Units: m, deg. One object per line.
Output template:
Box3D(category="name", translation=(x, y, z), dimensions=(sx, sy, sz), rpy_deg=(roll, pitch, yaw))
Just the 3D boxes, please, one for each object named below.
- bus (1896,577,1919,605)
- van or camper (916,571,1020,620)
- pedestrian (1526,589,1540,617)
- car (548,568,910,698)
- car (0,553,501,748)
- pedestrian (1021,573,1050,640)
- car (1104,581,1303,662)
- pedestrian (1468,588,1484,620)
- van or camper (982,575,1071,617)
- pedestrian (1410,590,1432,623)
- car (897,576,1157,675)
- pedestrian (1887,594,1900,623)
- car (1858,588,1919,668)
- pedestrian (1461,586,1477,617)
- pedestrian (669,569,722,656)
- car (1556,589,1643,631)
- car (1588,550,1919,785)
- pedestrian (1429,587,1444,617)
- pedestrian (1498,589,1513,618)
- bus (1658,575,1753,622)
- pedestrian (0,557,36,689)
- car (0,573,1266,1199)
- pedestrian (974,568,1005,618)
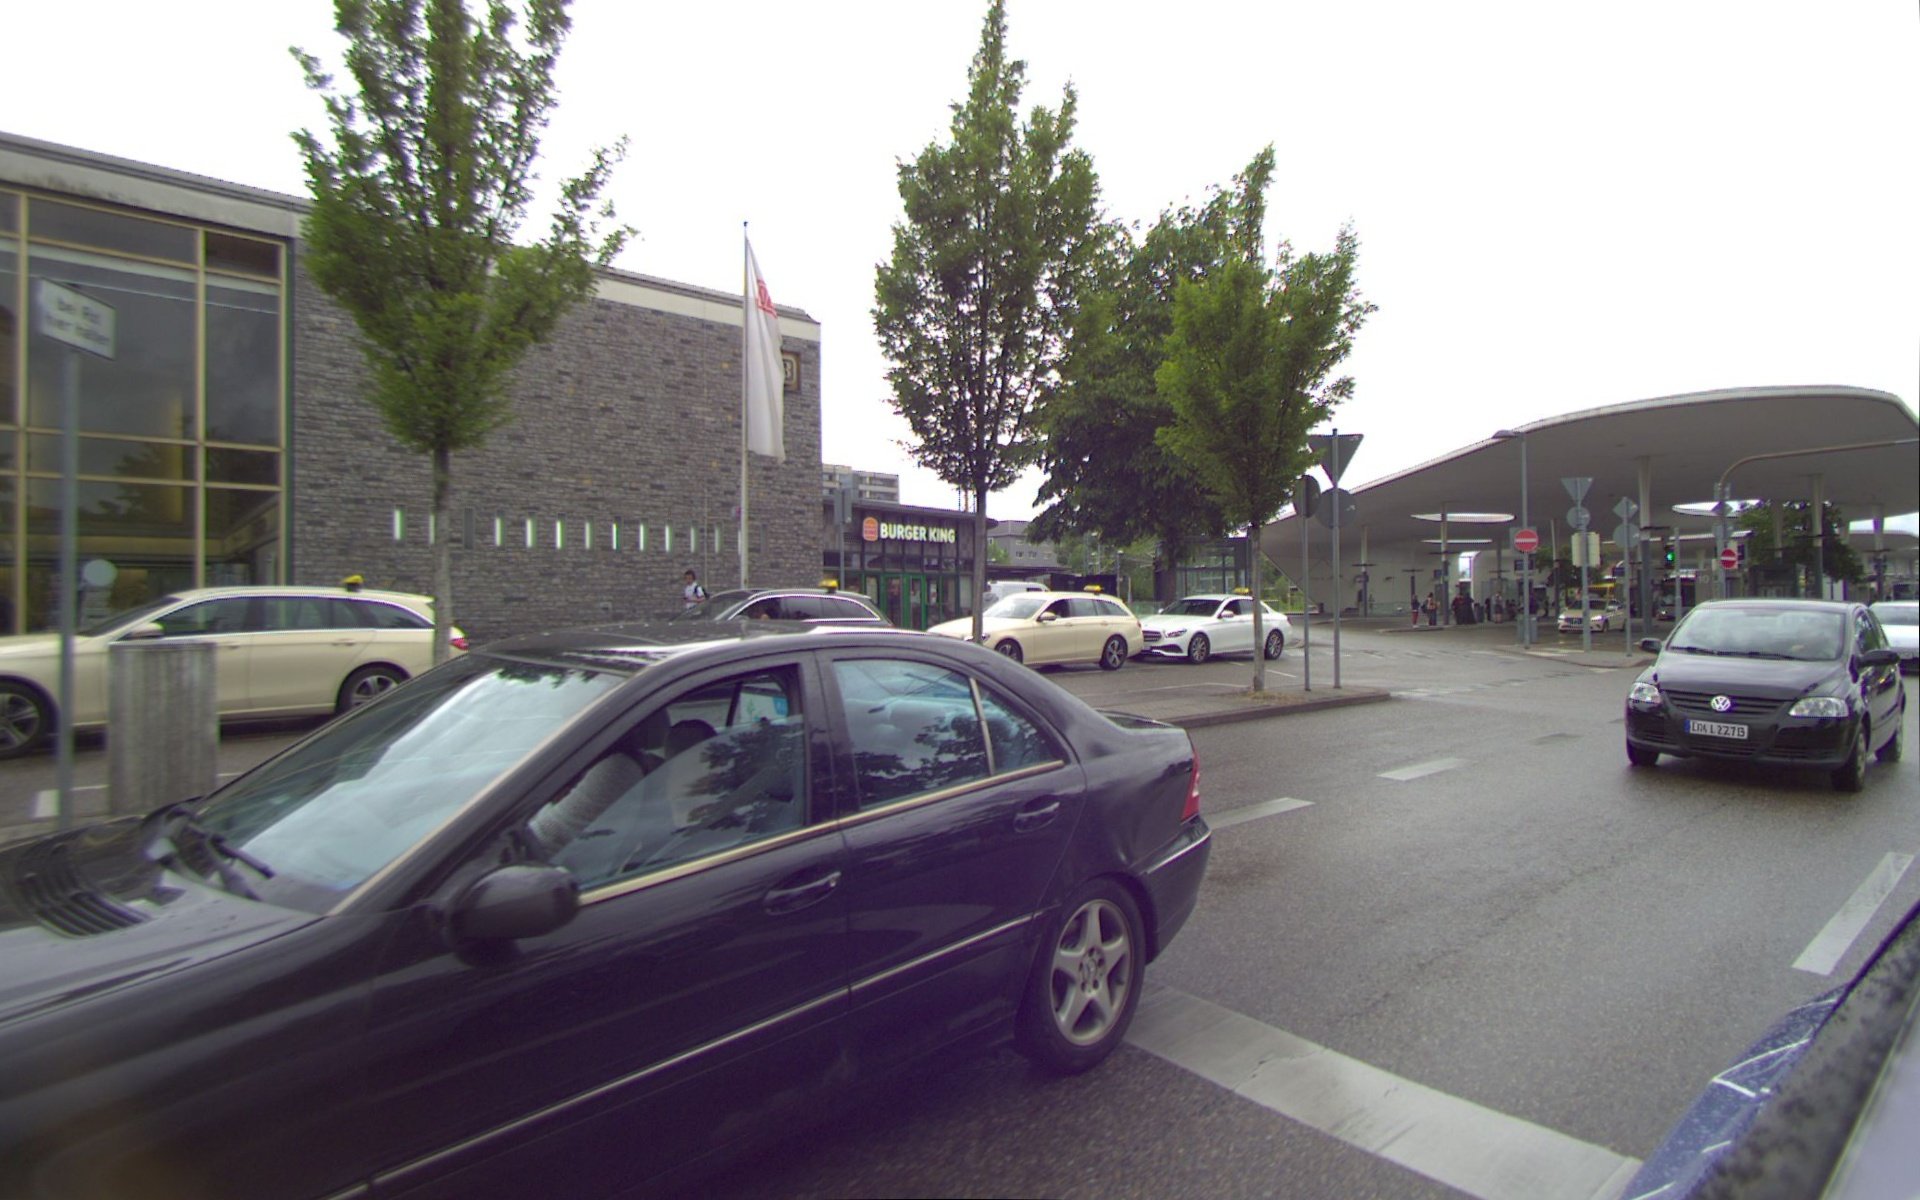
Box3D(category="bus", translation=(109.666, -1.003, 115.607), dimensions=(3.569, 3.137, 10.597), rpy_deg=(1, 1, 40))
Box3D(category="van or camper", translation=(0.387, -0.310, 55.884), dimensions=(5.846, 2.463, 2.132), rpy_deg=(3, 2, 44))
Box3D(category="pedestrian", translation=(31.931, 0.173, 56.429), dimensions=(0.525, 1.533, 0.479), rpy_deg=(0, 0, -37))
Box3D(category="car", translation=(-3.249, 0.409, 14.942), dimensions=(4.872, 1.620, 1.996), rpy_deg=(0, 0, -42))
Box3D(category="car", translation=(-7.617, 0.386, 10.421), dimensions=(1.992, 1.619, 4.883), rpy_deg=(3, 2, 41))
Box3D(category="pedestrian", translation=(2.553, 0.207, 34.157), dimensions=(0.787, 2.191, 0.718), rpy_deg=(1, 1, 19))
Box3D(category="car", translation=(5.588, 0.406, 22.861), dimensions=(4.816, 1.619, 1.884), rpy_deg=(0, 2, -40))
Box3D(category="pedestrian", translation=(25.598, 0.196, 50.232), dimensions=(0.470, 1.533, 0.535), rpy_deg=(0, 0, -36))
Box3D(category="van or camper", translation=(4.191, -0.274, 62.801), dimensions=(5.761, 2.463, 1.998), rpy_deg=(0, 2, -41))
Box3D(category="pedestrian", translation=(23.388, 0.332, 51.367), dimensions=(0.725, 1.615, 0.643), rpy_deg=(0, 1, -26))
Box3D(category="car", translation=(1.370, 0.409, 19.166), dimensions=(4.870, 1.619, 1.998), rpy_deg=(0, 2, -40))
Box3D(category="pedestrian", translation=(57.343, 0.535, 62.152), dimensions=(0.442, 1.786, 0.532), rpy_deg=(1, 0, 28))
Box3D(category="car", translation=(20.794, 0.565, 21.825), dimensions=(3.982, 1.578, 1.808), rpy_deg=(-1, 2, -44))
Box3D(category="pedestrian", translation=(25.717, 0.071, 51.134), dimensions=(0.470, 1.533, 0.535), rpy_deg=(0, 0, -36))
Box3D(category="pedestrian", translation=(-5.258, 0.233, 20.143), dimensions=(0.640, 1.688, 0.770), rpy_deg=(1, 1, 28))
Box3D(category="car", translation=(28.307, 0.415, 44.732), dimensions=(4.462, 1.702, 1.998), rpy_deg=(0, 2, -41))
Box3D(category="car", translation=(7.671, 0.460, 9.502), dimensions=(4.085, 1.723, 1.874), rpy_deg=(0, 2, -41))
Box3D(category="pedestrian", translation=(24.953, 0.094, 52.977), dimensions=(0.469, 1.533, 0.536), rpy_deg=(1, 0, -6))
Box3D(category="pedestrian", translation=(29.032, 0.202, 53.856), dimensions=(0.525, 1.533, 0.479), rpy_deg=(0, 0, -37))
Box3D(category="bus", translation=(53.722, -0.062, 72.757), dimensions=(11.711, 3.120, 2.875), rpy_deg=(1, 1, -41))
Box3D(category="pedestrian", translation=(-12.330, 0.278, 12.713), dimensions=(0.710, 1.646, 0.796), rpy_deg=(1, 1, 6))
Box3D(category="car", translation=(-0.988, 0.692, 2.845), dimensions=(1.695, 1.484, 4.381), rpy_deg=(3, 2, 44))
Box3D(category="pedestrian", translation=(0.974, -0.233, 33.481), dimensions=(0.698, 1.599, 0.770), rpy_deg=(0, 2, -42))
